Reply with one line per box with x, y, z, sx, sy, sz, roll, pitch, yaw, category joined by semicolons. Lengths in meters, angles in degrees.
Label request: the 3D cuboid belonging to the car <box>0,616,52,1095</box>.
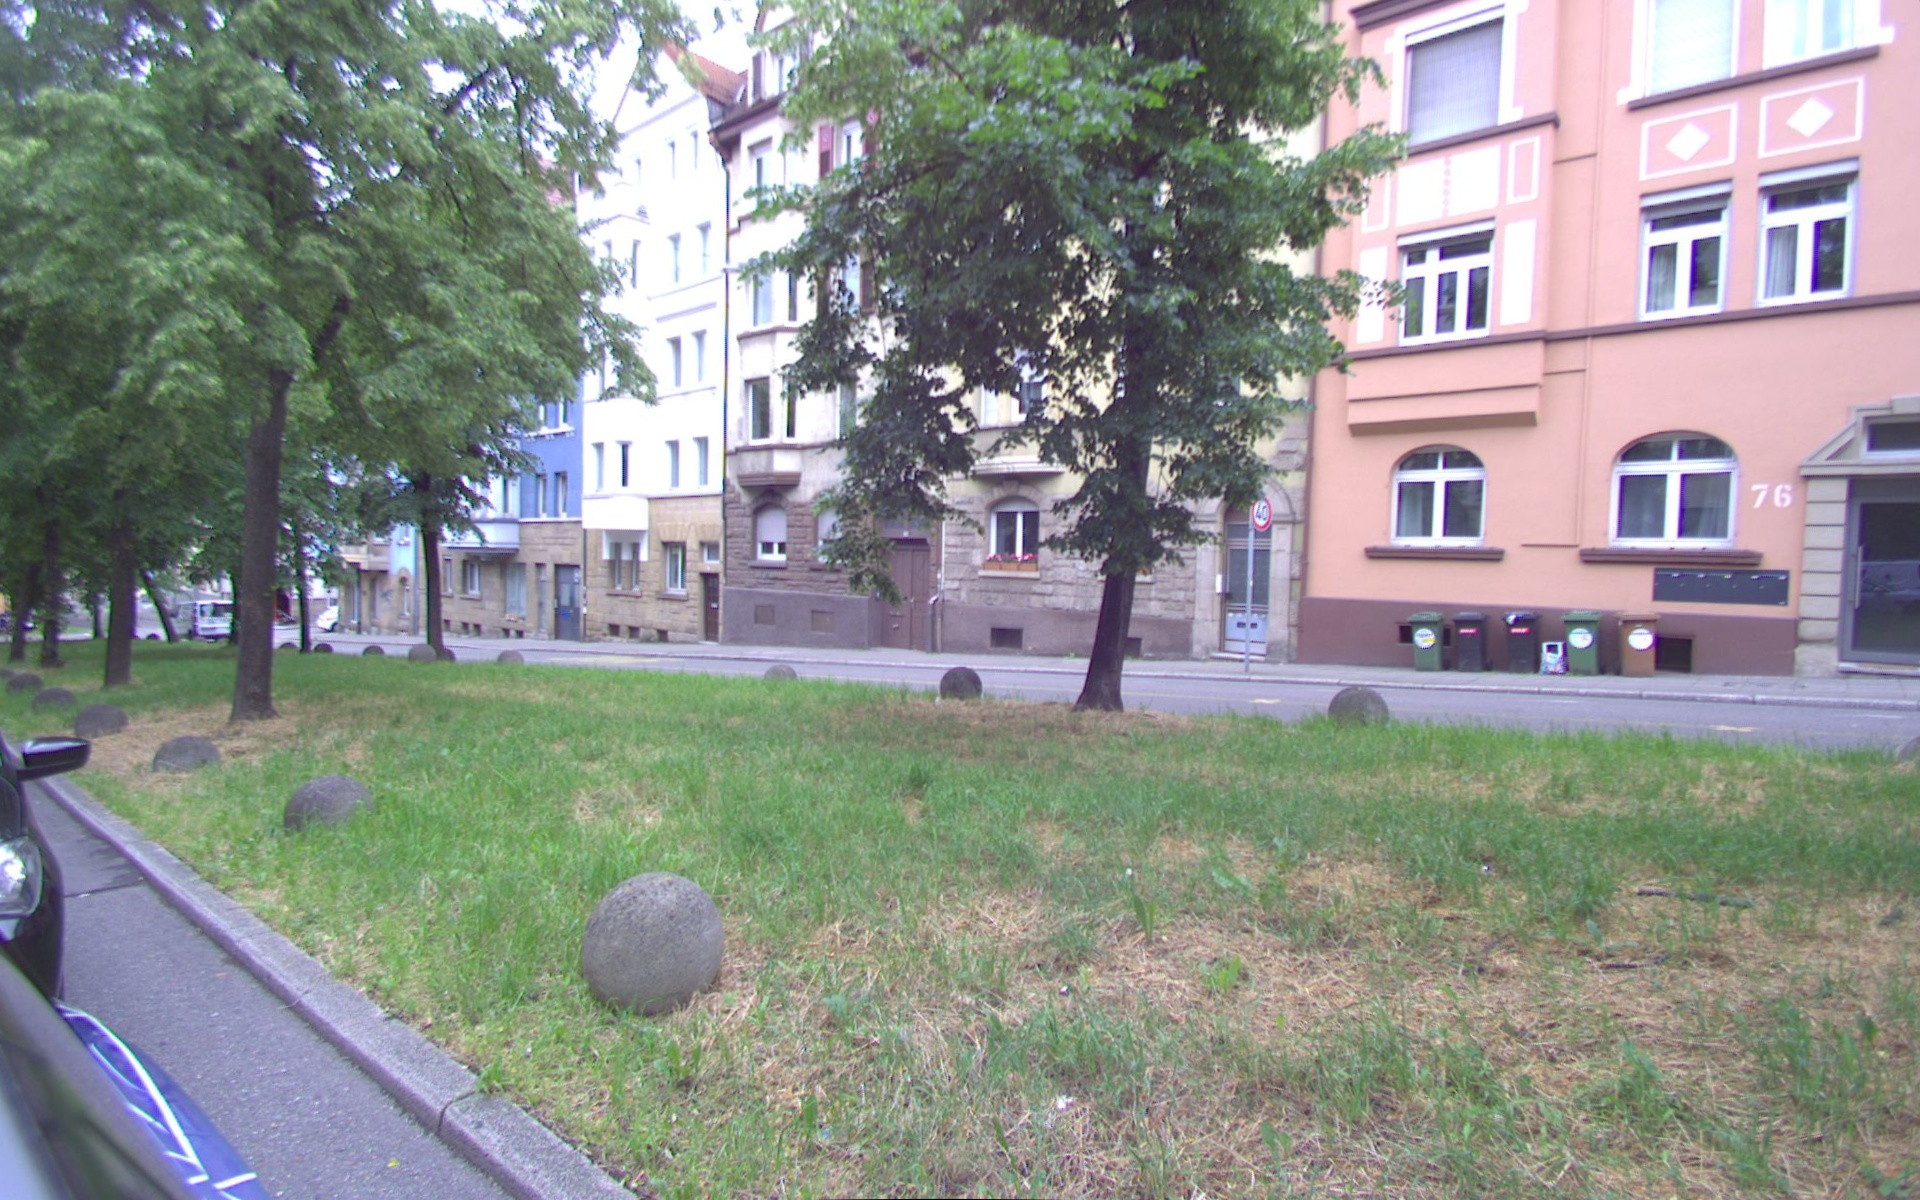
-4.654;0.787;3.691;3.295;1.476;1.590;-1;-2;41;car

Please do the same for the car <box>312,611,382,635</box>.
-35.384;1.309;58.477;3.244;1.341;1.674;-1;0;-40;car

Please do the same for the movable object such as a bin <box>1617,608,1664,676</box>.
9.648;0.581;14.340;0.514;0.928;0.750;-1;0;36;movable object such as a bin

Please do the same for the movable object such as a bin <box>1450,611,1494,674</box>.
7.998;0.649;15.816;0.531;0.953;0.575;-1;0;35;movable object such as a bin

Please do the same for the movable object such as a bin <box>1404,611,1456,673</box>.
7.524;0.655;16.189;0.617;0.955;0.610;-1;0;40;movable object such as a bin

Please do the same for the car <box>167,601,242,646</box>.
-35.454;1.089;47.464;5.308;1.959;1.971;-2;0;44;car

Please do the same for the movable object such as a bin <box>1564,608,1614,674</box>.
9.166;0.587;14.751;0.558;0.928;0.648;-1;0;36;movable object such as a bin
